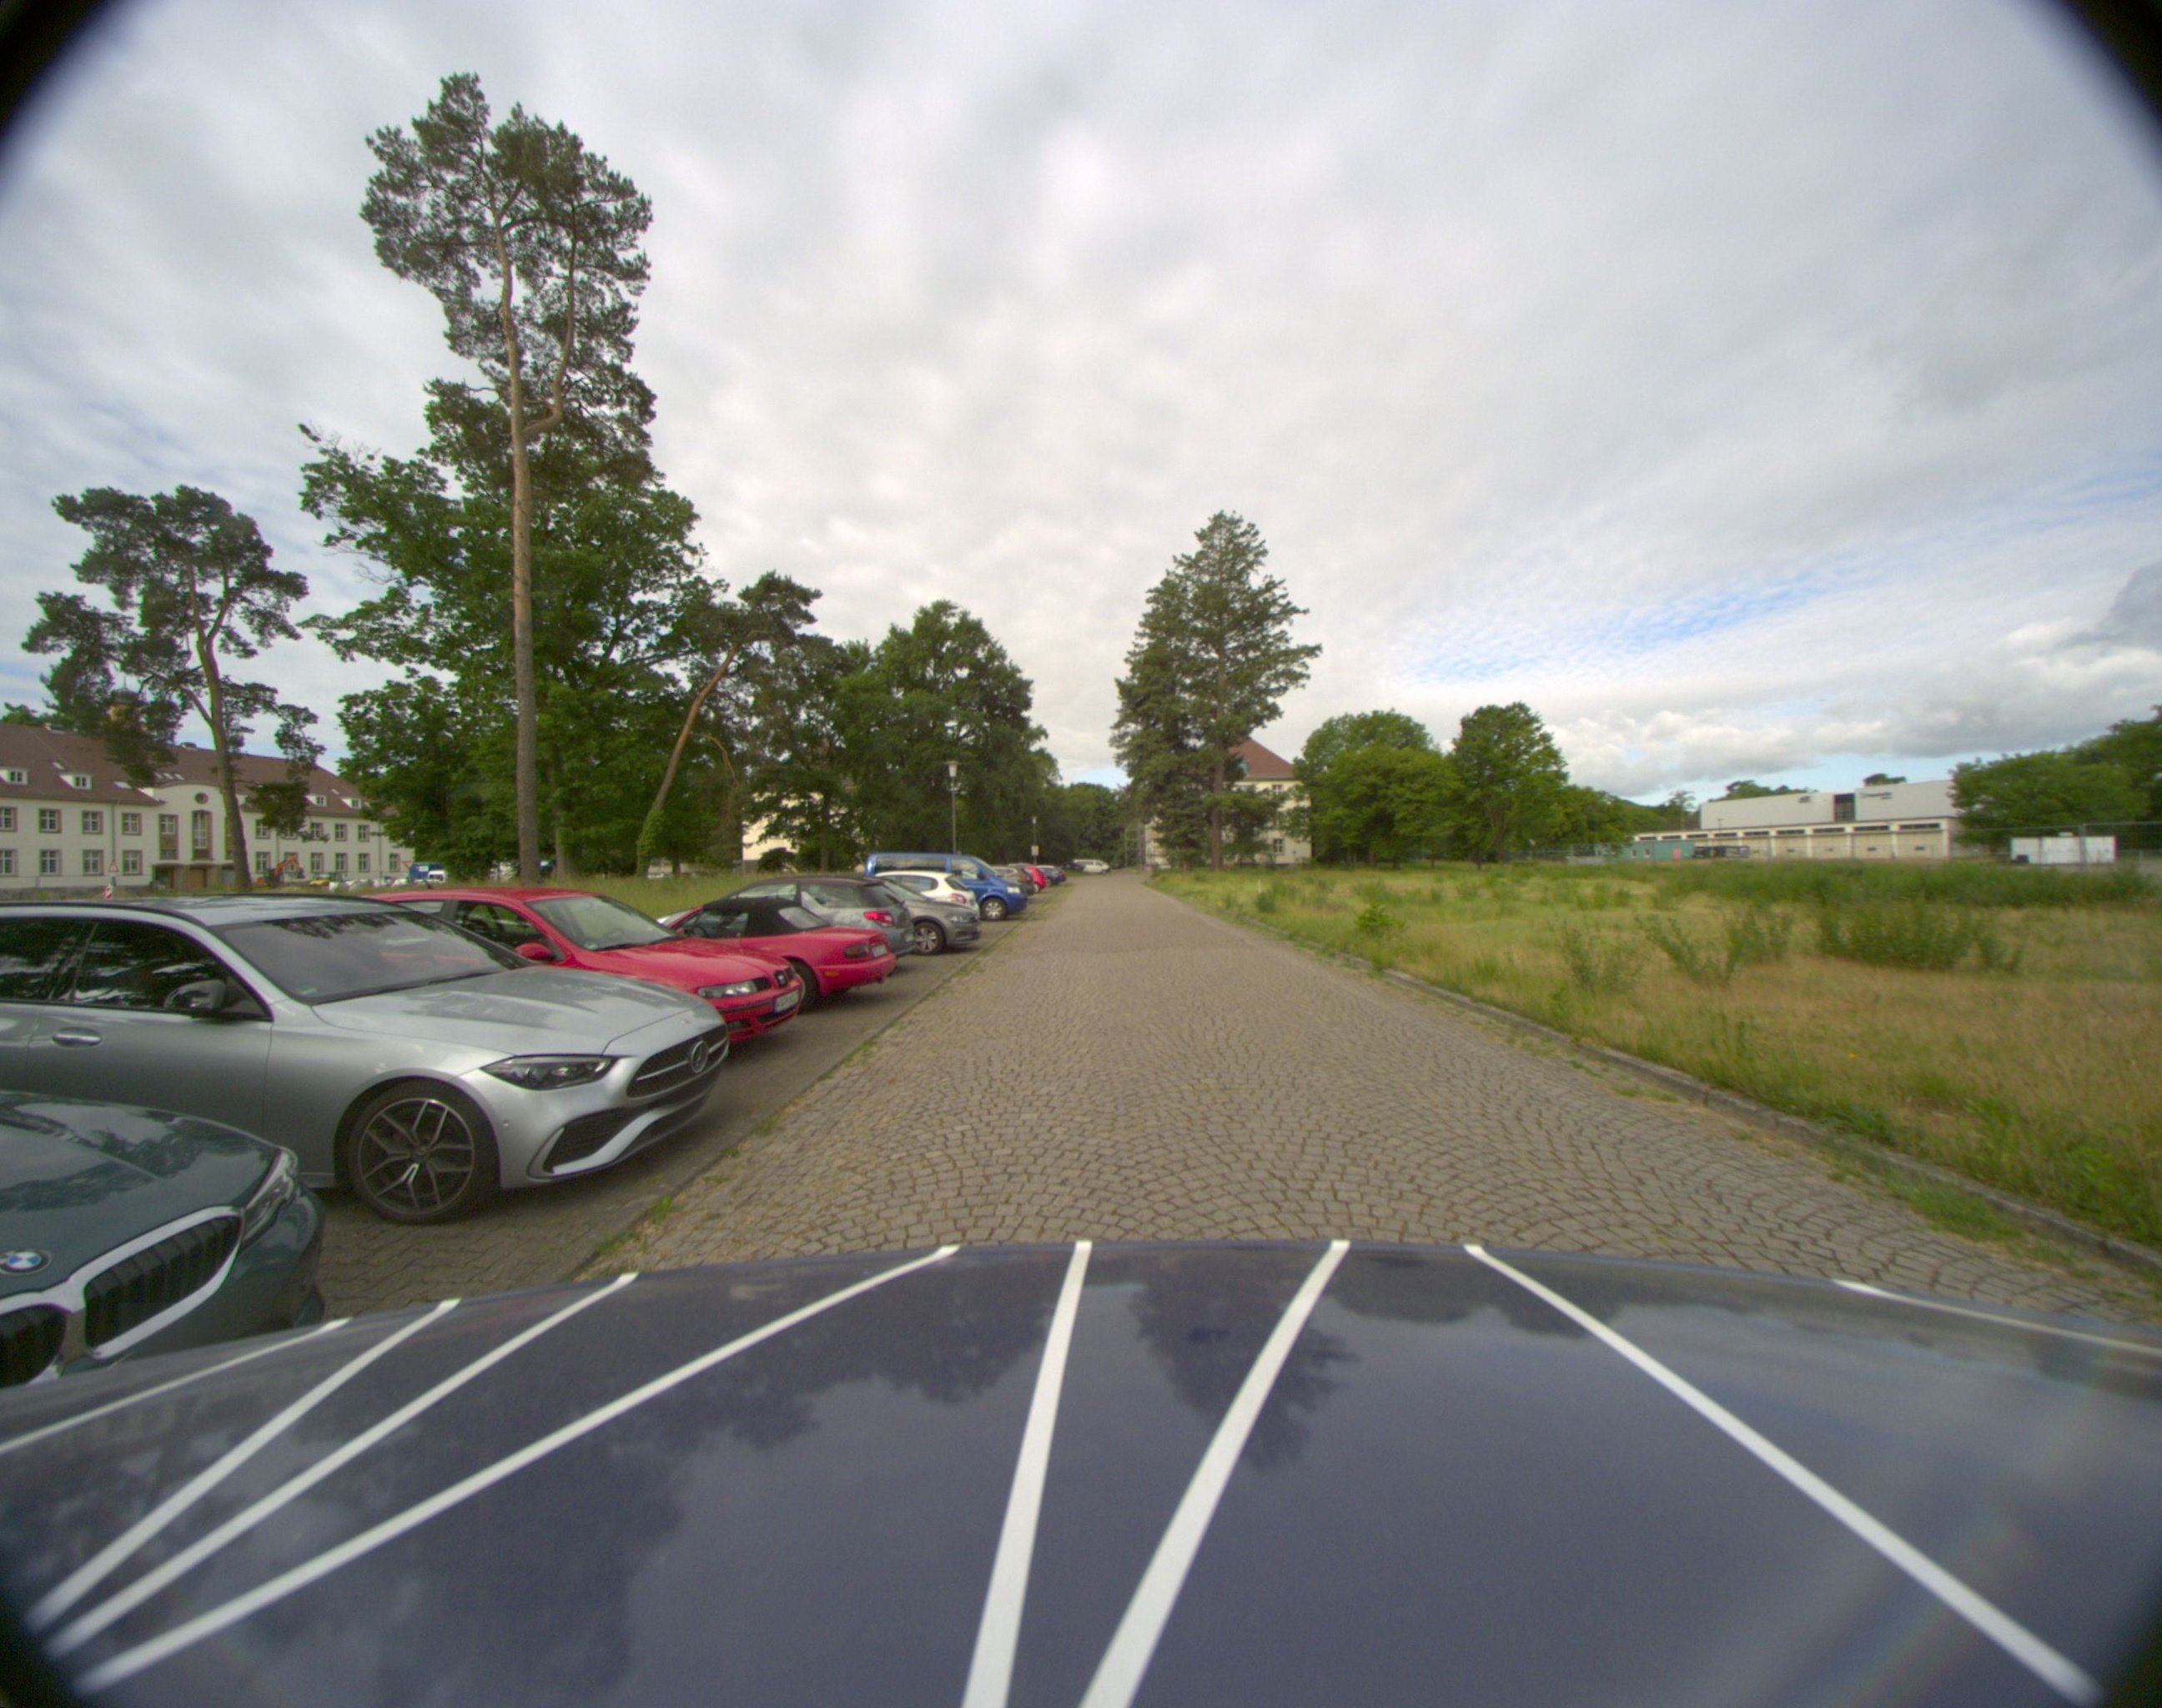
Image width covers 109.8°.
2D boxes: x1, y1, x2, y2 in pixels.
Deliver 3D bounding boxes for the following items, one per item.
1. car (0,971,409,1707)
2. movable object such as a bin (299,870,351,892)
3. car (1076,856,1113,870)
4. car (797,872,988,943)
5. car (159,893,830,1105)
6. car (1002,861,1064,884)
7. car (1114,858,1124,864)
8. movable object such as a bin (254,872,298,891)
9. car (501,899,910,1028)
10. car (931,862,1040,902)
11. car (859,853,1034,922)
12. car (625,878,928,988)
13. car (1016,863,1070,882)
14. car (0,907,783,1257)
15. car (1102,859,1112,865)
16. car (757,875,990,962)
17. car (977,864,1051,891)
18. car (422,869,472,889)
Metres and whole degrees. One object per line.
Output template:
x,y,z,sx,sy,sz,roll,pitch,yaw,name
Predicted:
-4.543,1.070,1.514,4.693,1.408,1.871,0,0,-1,car
-74.548,2.615,74.986,1.679,2.002,3.246,-1,0,9,movable object such as a bin
1.824,1.278,105.383,5.140,1.860,1.723,0,0,0,car
-4.210,1.187,17.354,3.871,1.463,1.758,0,0,2,car
-4.599,1.101,6.472,4.272,1.408,1.871,0,0,1,car
-3.270,1.248,52.010,4.150,1.529,1.582,0,0,0,car
8.663,1.640,172.226,1.870,1.408,4.695,0,0,-3,car
-88.153,2.989,83.256,2.984,2.002,1.554,-1,0,-6,movable object such as a bin
-4.132,1.197,8.835,3.872,1.229,1.758,0,0,0,car
-3.900,1.149,31.496,4.271,1.589,1.822,0,0,0,car
-3.892,0.963,22.656,4.820,1.934,2.003,0,0,0,car
-4.438,1.138,11.508,3.872,1.463,1.758,0,0,0,car
-2.812,1.382,56.662,3.877,1.417,1.582,0,0,0,car
-4.266,1.075,4.283,4.433,1.408,1.871,0,0,-2,car
5.766,1.741,171.742,1.870,1.408,4.695,0,0,-3,car
-3.789,1.160,14.339,3.872,1.463,1.758,0,0,1,car
-3.658,1.259,41.772,3.894,1.451,1.582,0,0,0,car
-66.394,2.586,79.638,1.999,2.002,3.999,-1,0,-3,car
